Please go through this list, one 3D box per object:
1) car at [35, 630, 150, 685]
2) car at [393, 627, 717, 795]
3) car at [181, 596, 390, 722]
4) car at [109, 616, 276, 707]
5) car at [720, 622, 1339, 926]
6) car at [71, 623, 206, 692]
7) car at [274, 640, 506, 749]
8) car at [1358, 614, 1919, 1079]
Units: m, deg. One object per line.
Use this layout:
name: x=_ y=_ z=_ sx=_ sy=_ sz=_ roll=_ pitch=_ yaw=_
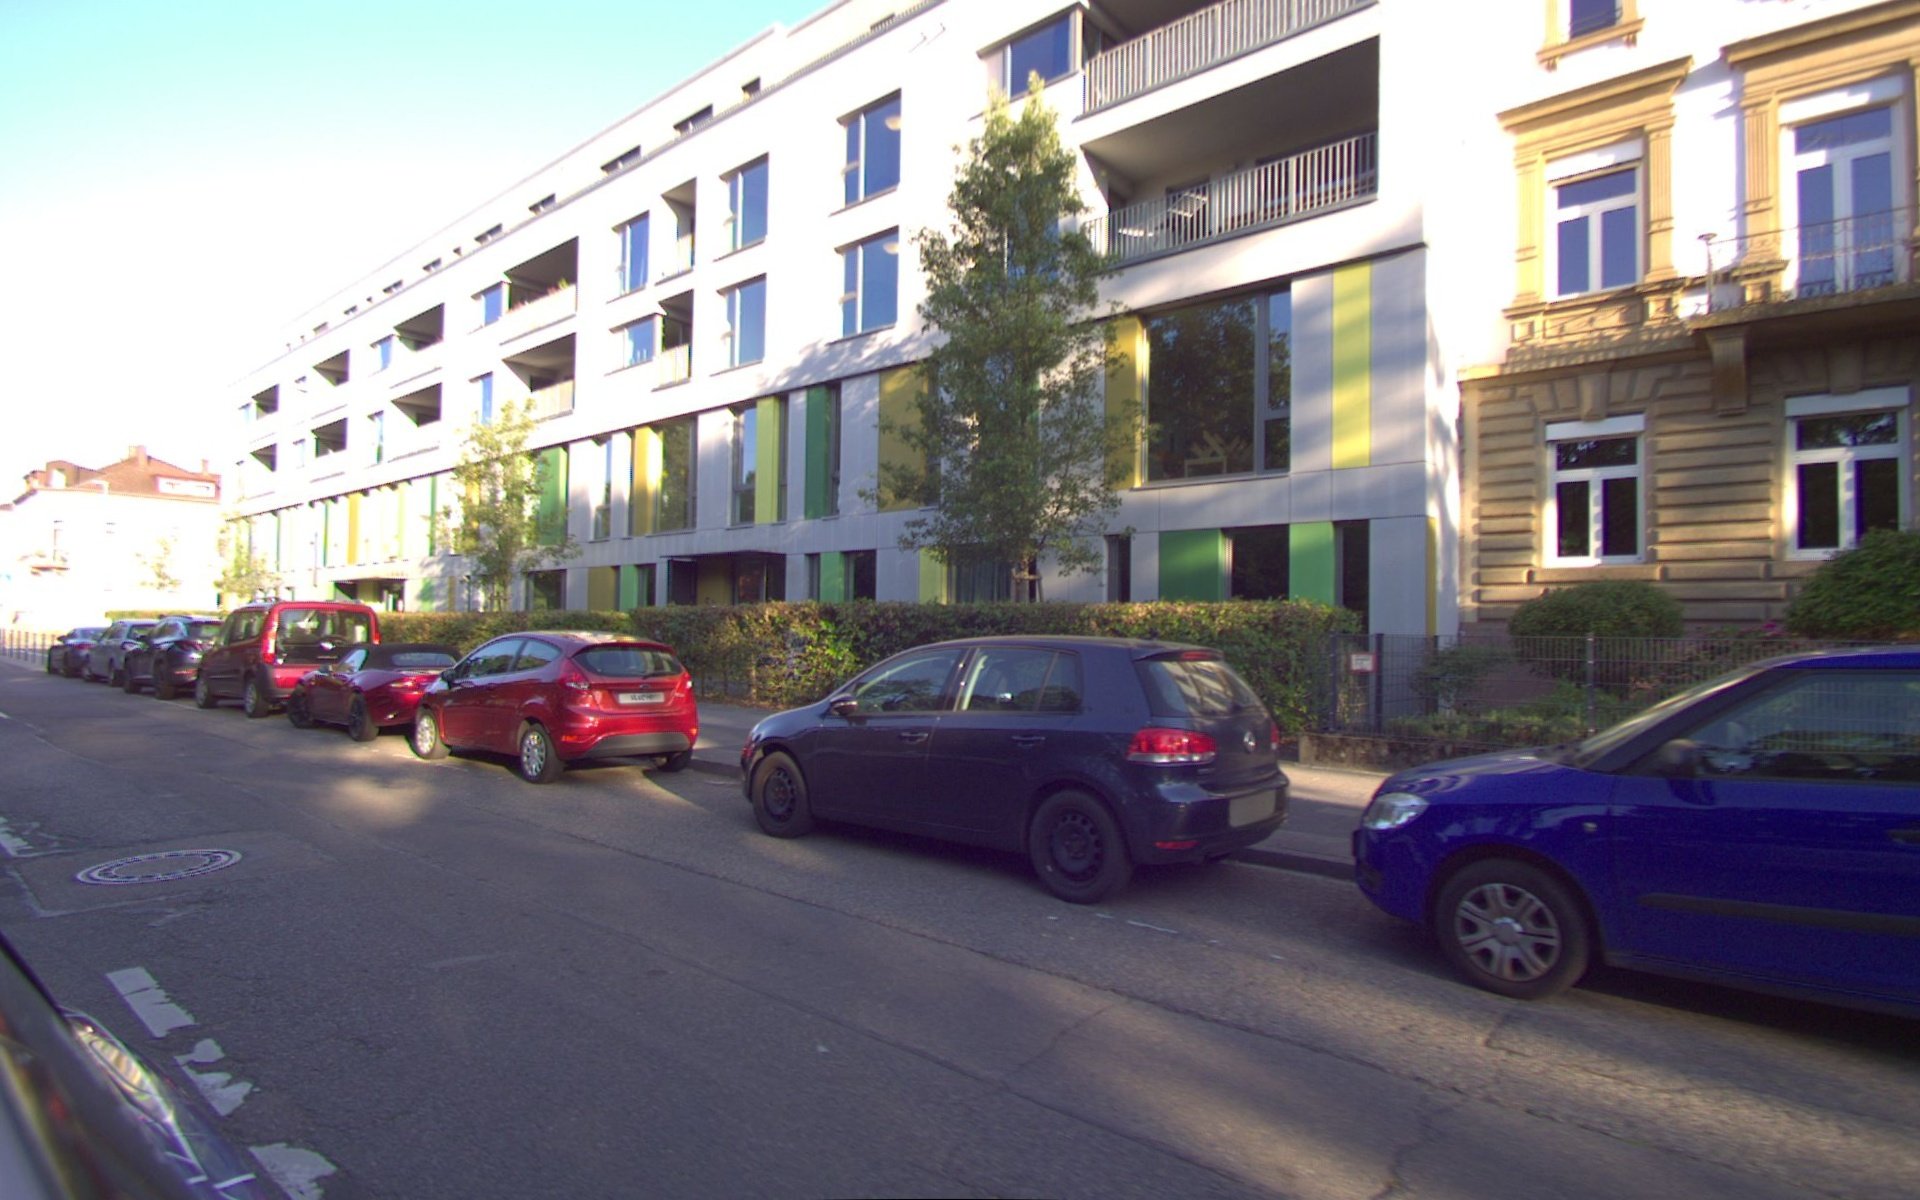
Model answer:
car: x=-23.755 y=1.535 z=27.662 sx=4.394 sy=1.367 sz=1.724 roll=-1 pitch=-3 yaw=41
car: x=-4.475 y=1.060 z=10.936 sx=3.858 sy=1.466 sz=1.582 roll=-1 pitch=-3 yaw=40
car: x=-11.629 y=0.979 z=17.347 sx=4.234 sy=1.904 sz=1.789 roll=-2 pitch=-4 yaw=40
car: x=-15.871 y=1.233 z=20.850 sx=4.413 sy=1.689 sz=1.724 roll=-2 pitch=-4 yaw=40
car: x=0.257 y=0.928 z=6.861 sx=4.052 sy=1.466 sz=1.582 roll=-2 pitch=-4 yaw=41
car: x=-20.115 y=1.348 z=24.724 sx=4.111 sy=1.545 sz=1.725 roll=-1 pitch=-2 yaw=39
car: x=-7.944 y=1.226 z=13.991 sx=3.730 sy=1.290 sz=1.540 roll=-2 pitch=-4 yaw=40
car: x=3.721 y=0.846 z=3.884 sx=3.787 sy=1.519 sz=1.581 roll=-2 pitch=-4 yaw=43
